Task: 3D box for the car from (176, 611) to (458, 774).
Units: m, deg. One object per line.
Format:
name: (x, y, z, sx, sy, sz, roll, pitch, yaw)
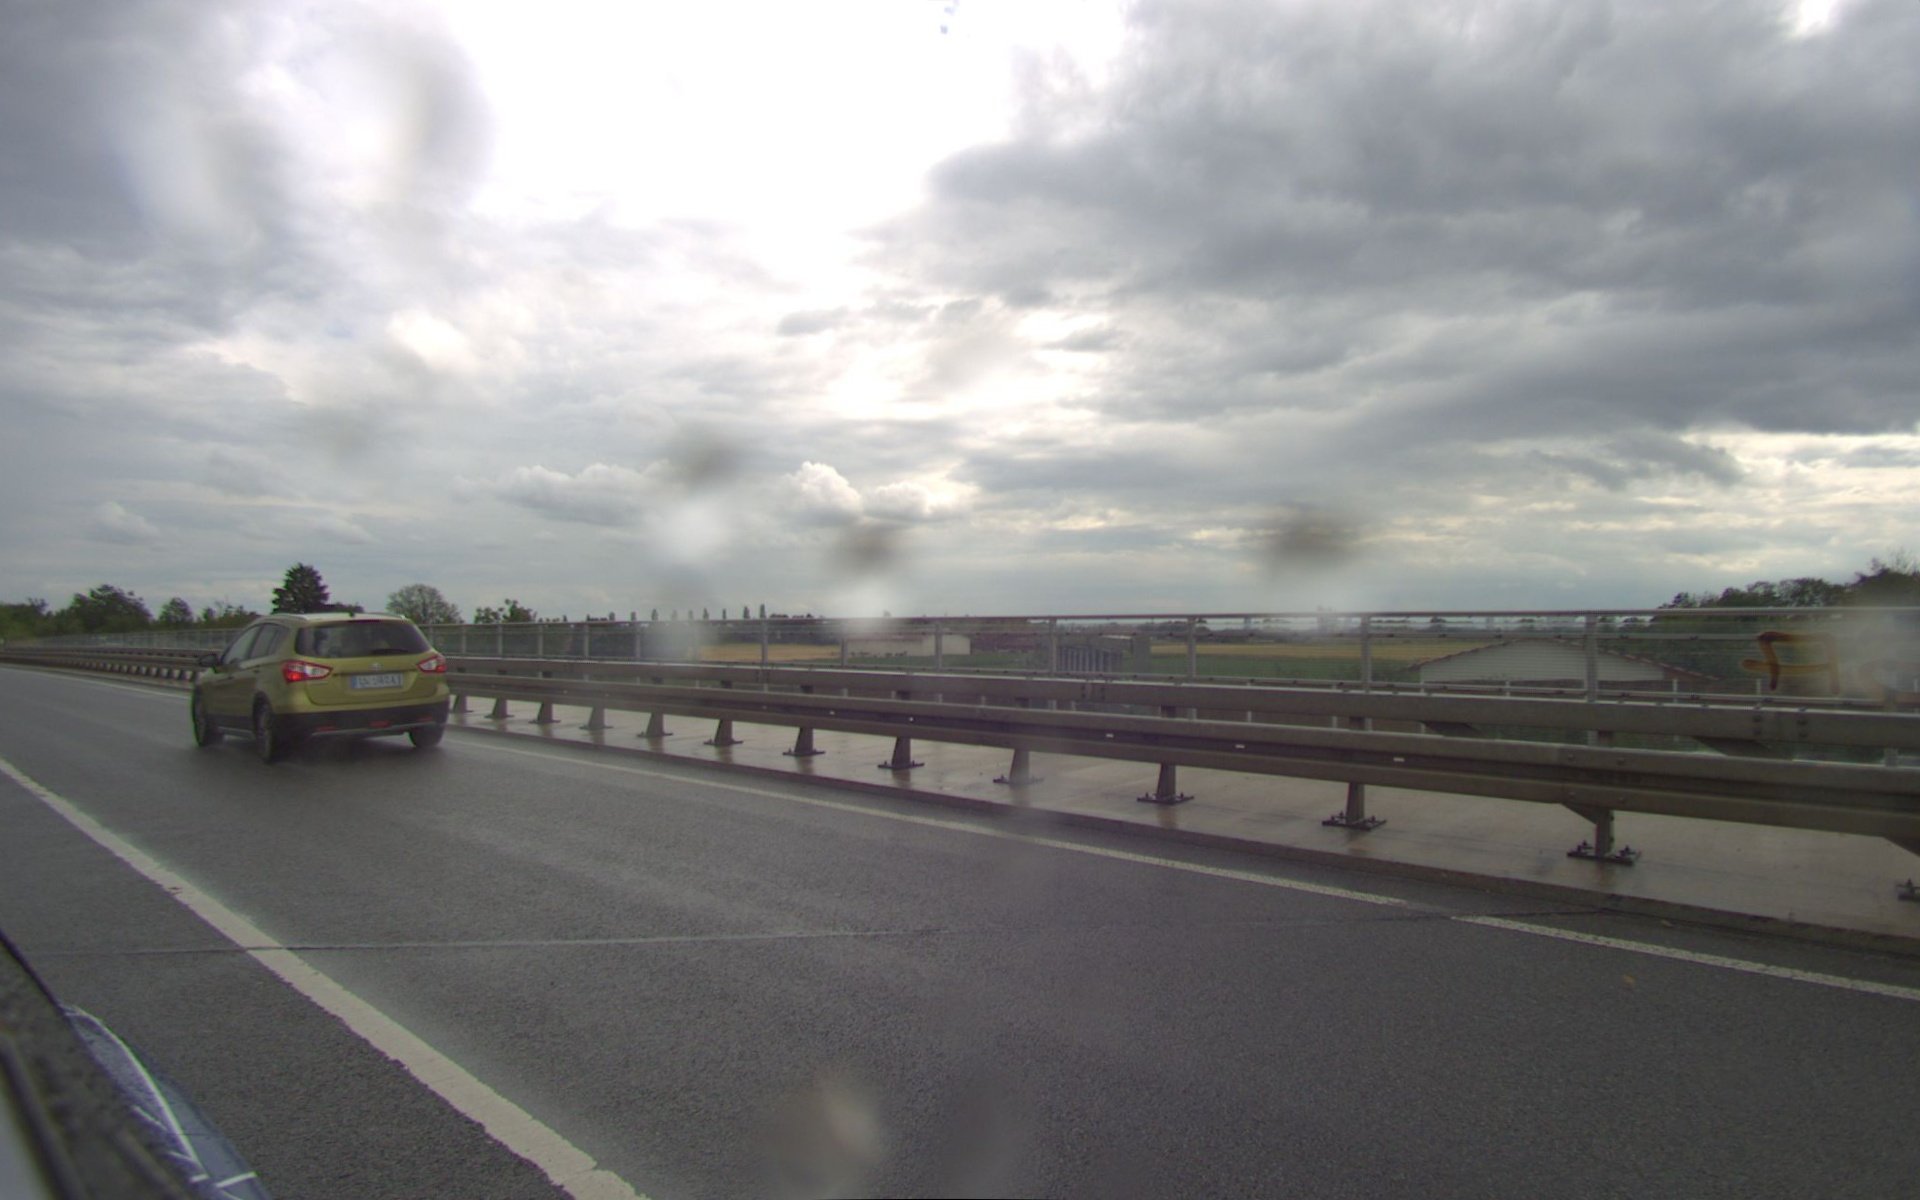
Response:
car: (-7.450, 0.905, 11.583, 3.858, 1.528, 1.696, 0, 0, 41)
